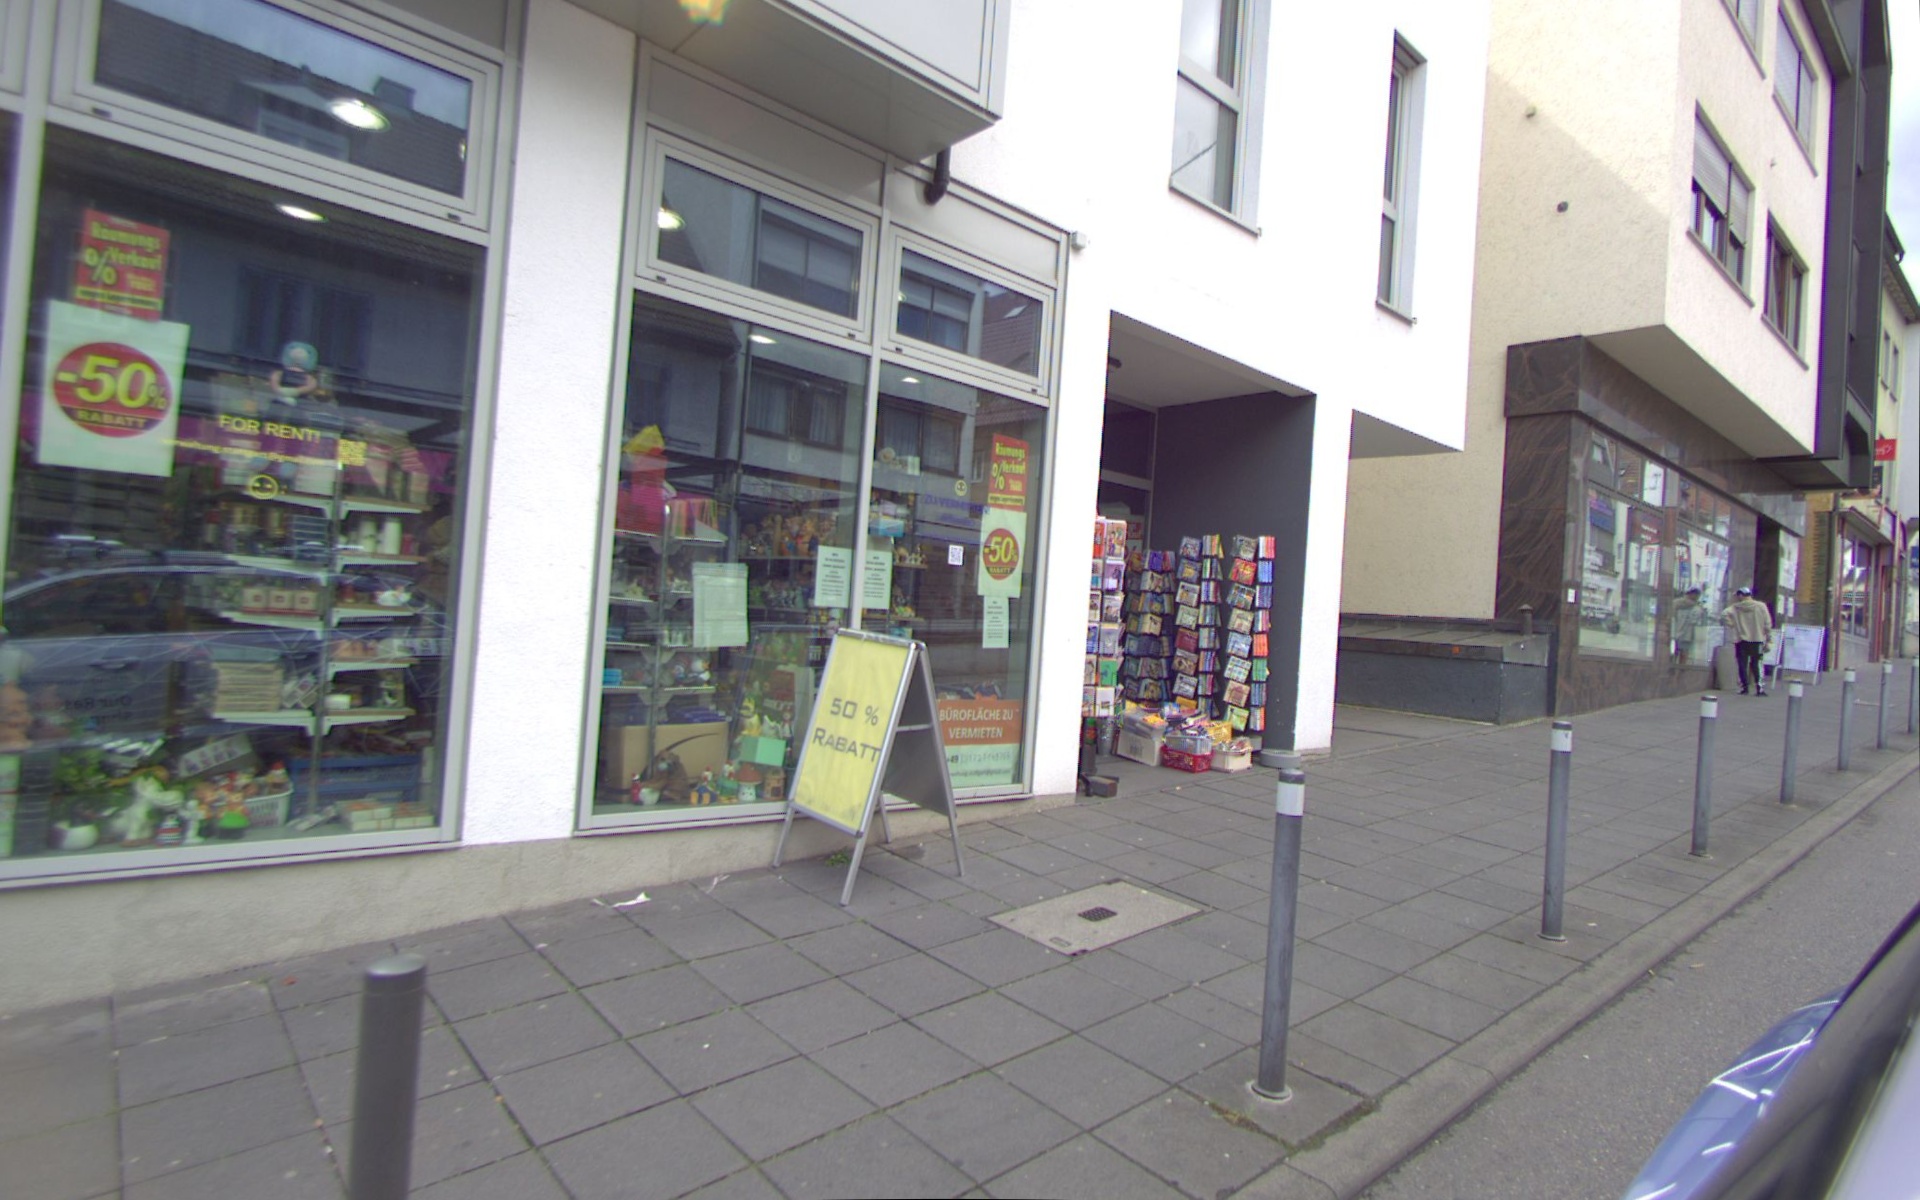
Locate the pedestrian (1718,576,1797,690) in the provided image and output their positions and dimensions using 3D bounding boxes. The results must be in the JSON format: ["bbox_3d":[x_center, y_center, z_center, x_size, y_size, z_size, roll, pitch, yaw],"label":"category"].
[{"bbox_3d":[12.576,0.498,15.959,0.767,1.693,0.759,1,4,-43],"label":"pedestrian"}]
